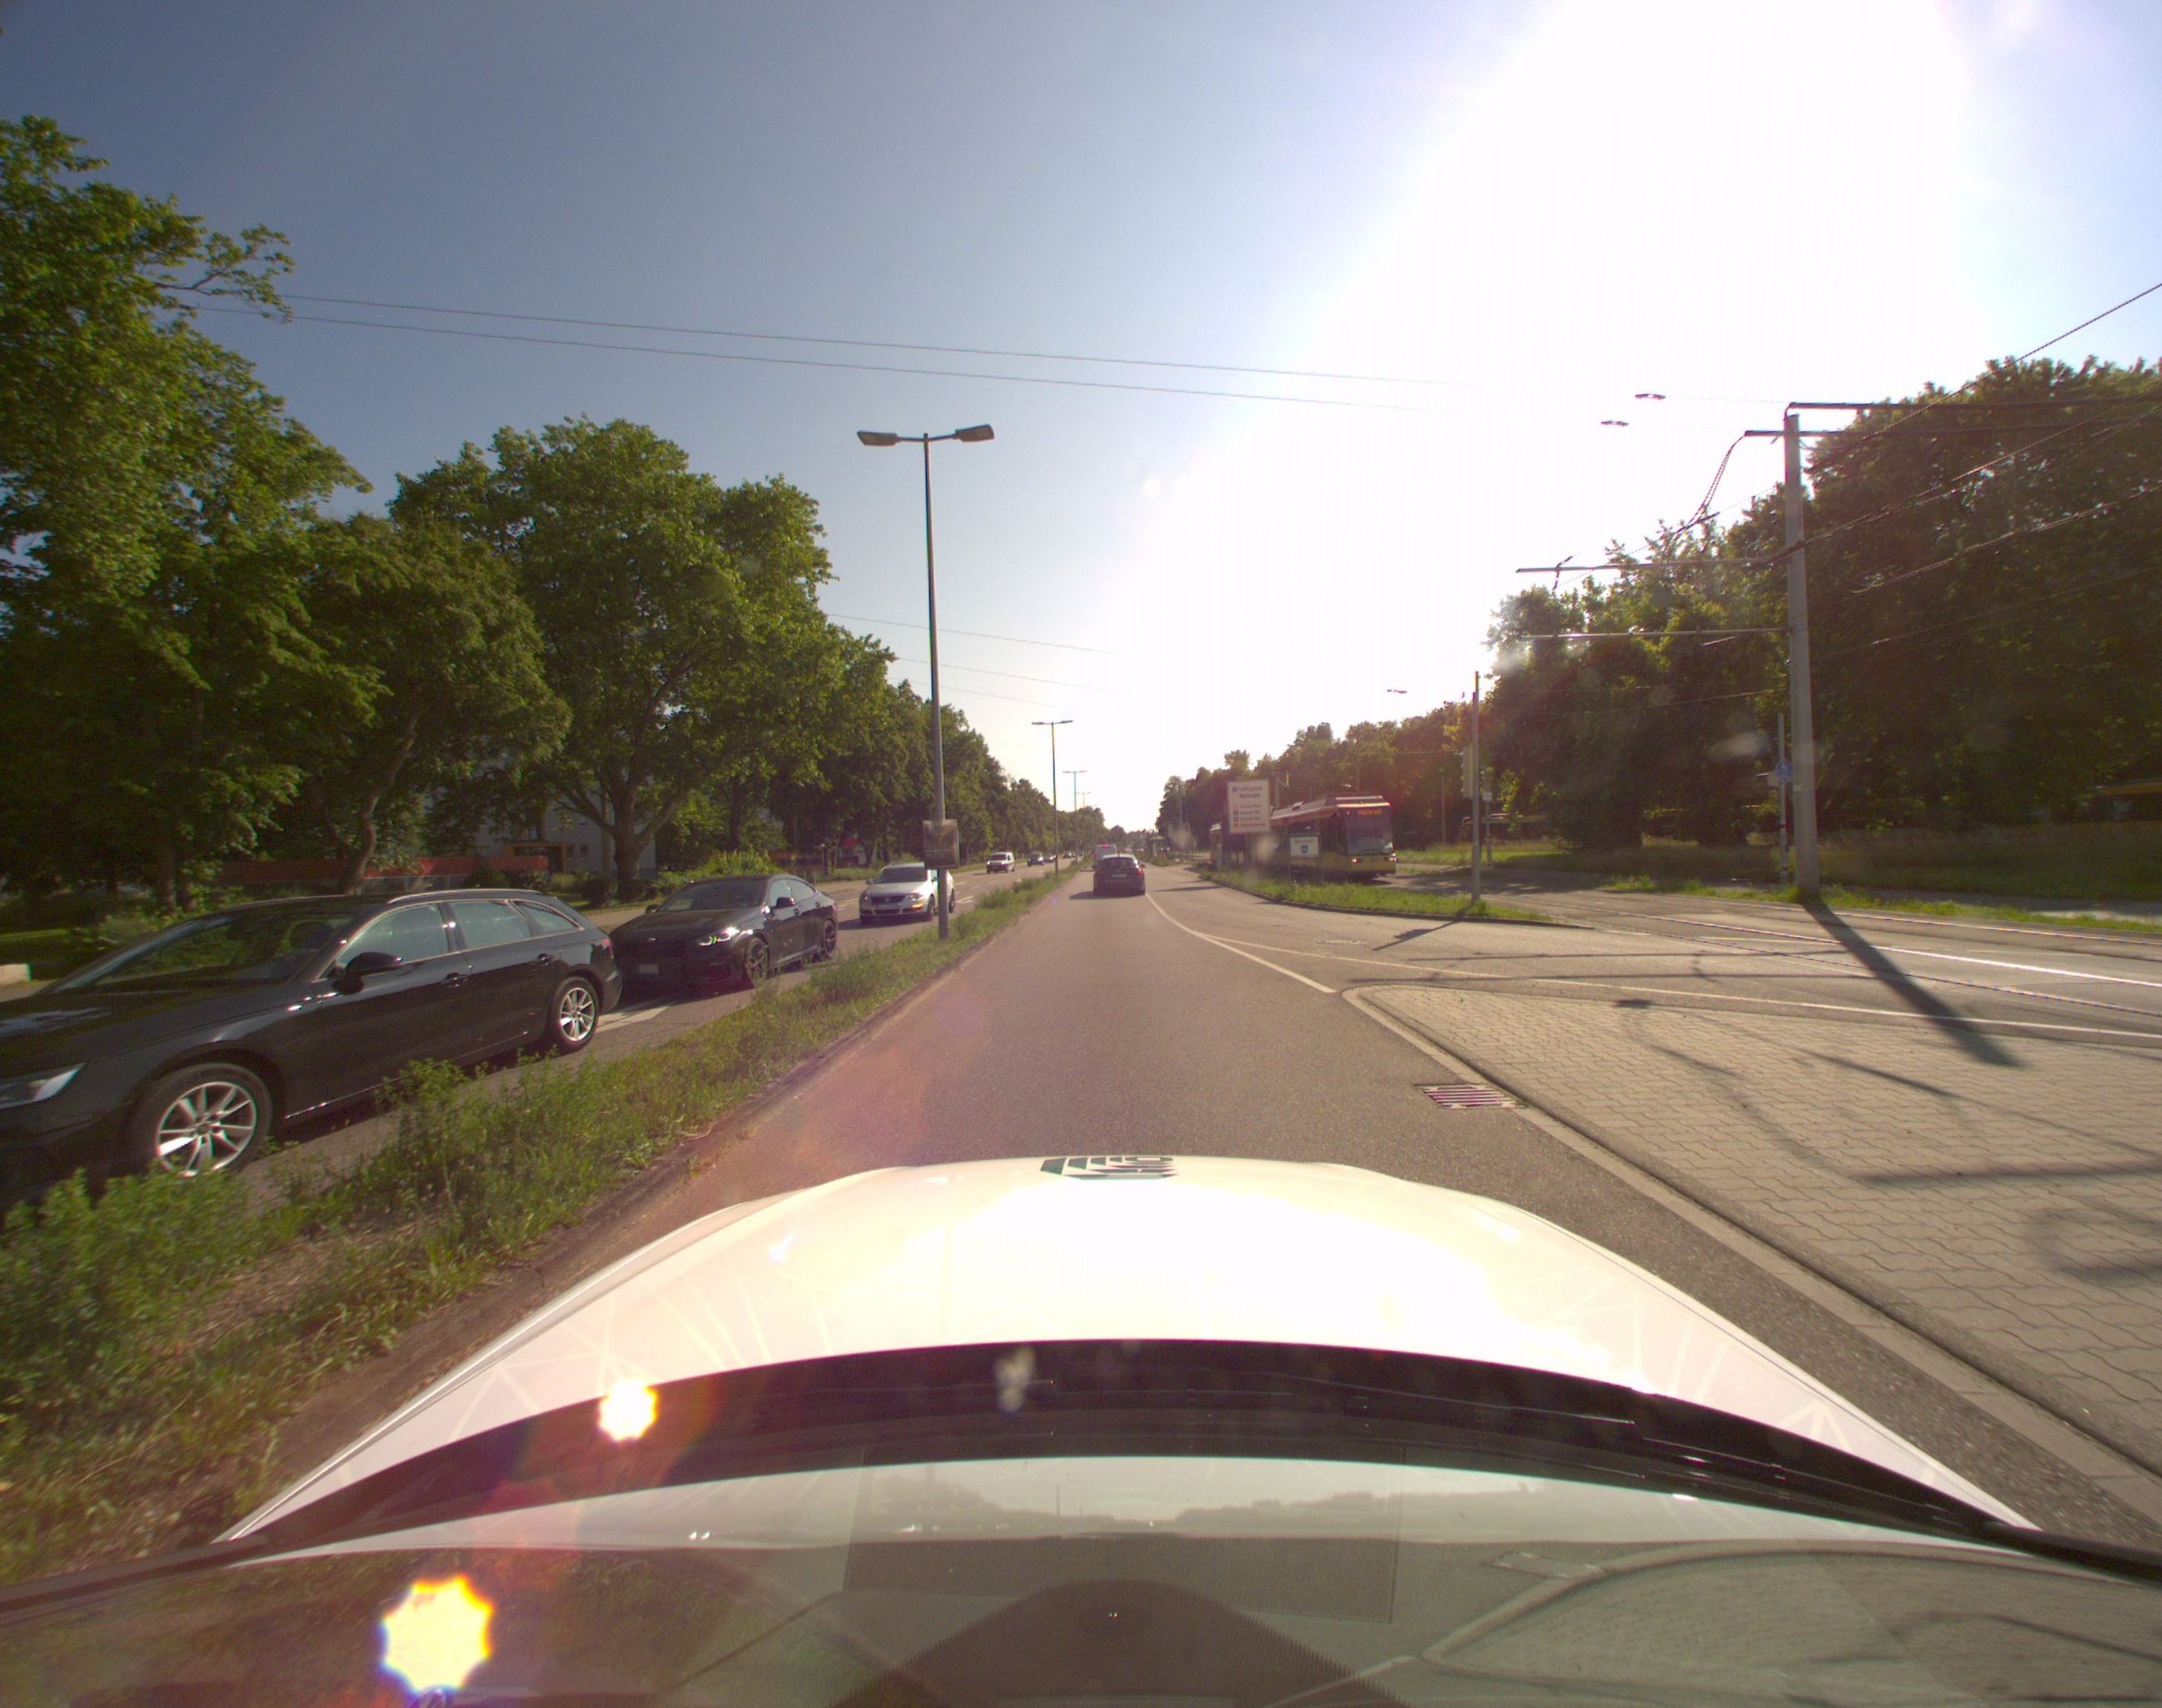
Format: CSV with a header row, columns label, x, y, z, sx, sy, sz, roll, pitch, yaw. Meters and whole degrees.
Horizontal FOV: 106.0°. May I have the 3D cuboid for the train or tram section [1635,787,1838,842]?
label,x,y,z,sx,sy,sz,roll,pitch,yaw
train or tram section,50.842,-2.949,63.826,12.071,3.579,3.074,-2,1,37

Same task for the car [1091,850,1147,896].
label,x,y,z,sx,sy,sz,roll,pitch,yaw
car,1.426,0.646,30.170,1.895,1.505,4.068,-2,1,3

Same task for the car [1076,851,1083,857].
label,x,y,z,sx,sy,sz,roll,pitch,yaw
car,-0.427,0.003,223.761,1.843,1.552,4.001,-2,1,1

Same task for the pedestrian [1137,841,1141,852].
label,x,y,z,sx,sy,sz,roll,pitch,yaw
pedestrian,10.991,-1.466,153.243,0.696,2.013,0.703,-2,0,1

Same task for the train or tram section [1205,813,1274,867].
label,x,y,z,sx,sy,sz,roll,pitch,yaw
train or tram section,11.563,-0.921,61.084,2.675,3.480,14.975,-1,0,2

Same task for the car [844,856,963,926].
label,x,y,z,sx,sy,sz,roll,pitch,yaw
car,-4.536,0.883,21.596,1.841,1.477,4.650,-3,1,3

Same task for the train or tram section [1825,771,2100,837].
label,x,y,z,sx,sy,sz,roll,pitch,yaw
train or tram section,58.392,-3.127,54.614,3.066,3.579,12.104,-2,1,-33

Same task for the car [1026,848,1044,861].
label,x,y,z,sx,sy,sz,roll,pitch,yaw
car,-5.484,0.014,98.019,1.782,1.415,4.388,-2,1,1

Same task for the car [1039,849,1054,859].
label,x,y,z,sx,sy,sz,roll,pitch,yaw
car,-4.970,0.048,118.664,1.782,1.328,4.739,-2,1,2

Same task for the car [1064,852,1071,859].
label,x,y,z,sx,sy,sz,roll,pitch,yaw
car,-3.016,0.340,182.747,1.528,1.486,4.001,-2,1,1

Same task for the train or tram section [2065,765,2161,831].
label,x,y,z,sx,sy,sz,roll,pitch,yaw
train or tram section,60.978,-3.156,43.167,3.032,3.579,12.236,-2,1,2

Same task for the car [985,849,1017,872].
label,x,y,z,sx,sy,sz,roll,pitch,yaw
car,-6.792,0.515,69.780,1.779,1.772,4.578,-3,1,6

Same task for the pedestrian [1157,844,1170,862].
label,x,y,z,sx,sy,sz,roll,pitch,yaw
pedestrian,7.829,-0.121,77.272,0.988,1.634,0.726,-2,1,35

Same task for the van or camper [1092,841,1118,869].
label,x,y,z,sx,sy,sz,roll,pitch,yaw
van or camper,1.929,0.024,64.908,1.986,2.096,4.601,-2,1,2

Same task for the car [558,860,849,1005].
label,x,y,z,sx,sy,sz,roll,pitch,yaw
car,-4.906,0.908,11.415,1.822,1.434,4.384,-2,1,2

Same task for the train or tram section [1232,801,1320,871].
label,x,y,z,sx,sy,sz,roll,pitch,yaw
train or tram section,11.164,-0.939,47.955,2.740,3.554,11.261,-1,0,2

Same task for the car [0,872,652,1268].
label,x,y,z,sx,sy,sz,roll,pitch,yaw
car,-5.173,0.966,5.471,1.822,1.431,4.734,-3,1,2

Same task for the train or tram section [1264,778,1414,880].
label,x,y,z,sx,sy,sz,roll,pitch,yaw
train or tram section,10.784,-0.920,35.882,2.786,3.618,12.960,-1,0,2

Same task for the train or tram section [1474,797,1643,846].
label,x,y,z,sx,sy,sz,roll,pitch,yaw
train or tram section,41.077,-2.677,70.493,12.279,3.579,3.074,-2,0,32
